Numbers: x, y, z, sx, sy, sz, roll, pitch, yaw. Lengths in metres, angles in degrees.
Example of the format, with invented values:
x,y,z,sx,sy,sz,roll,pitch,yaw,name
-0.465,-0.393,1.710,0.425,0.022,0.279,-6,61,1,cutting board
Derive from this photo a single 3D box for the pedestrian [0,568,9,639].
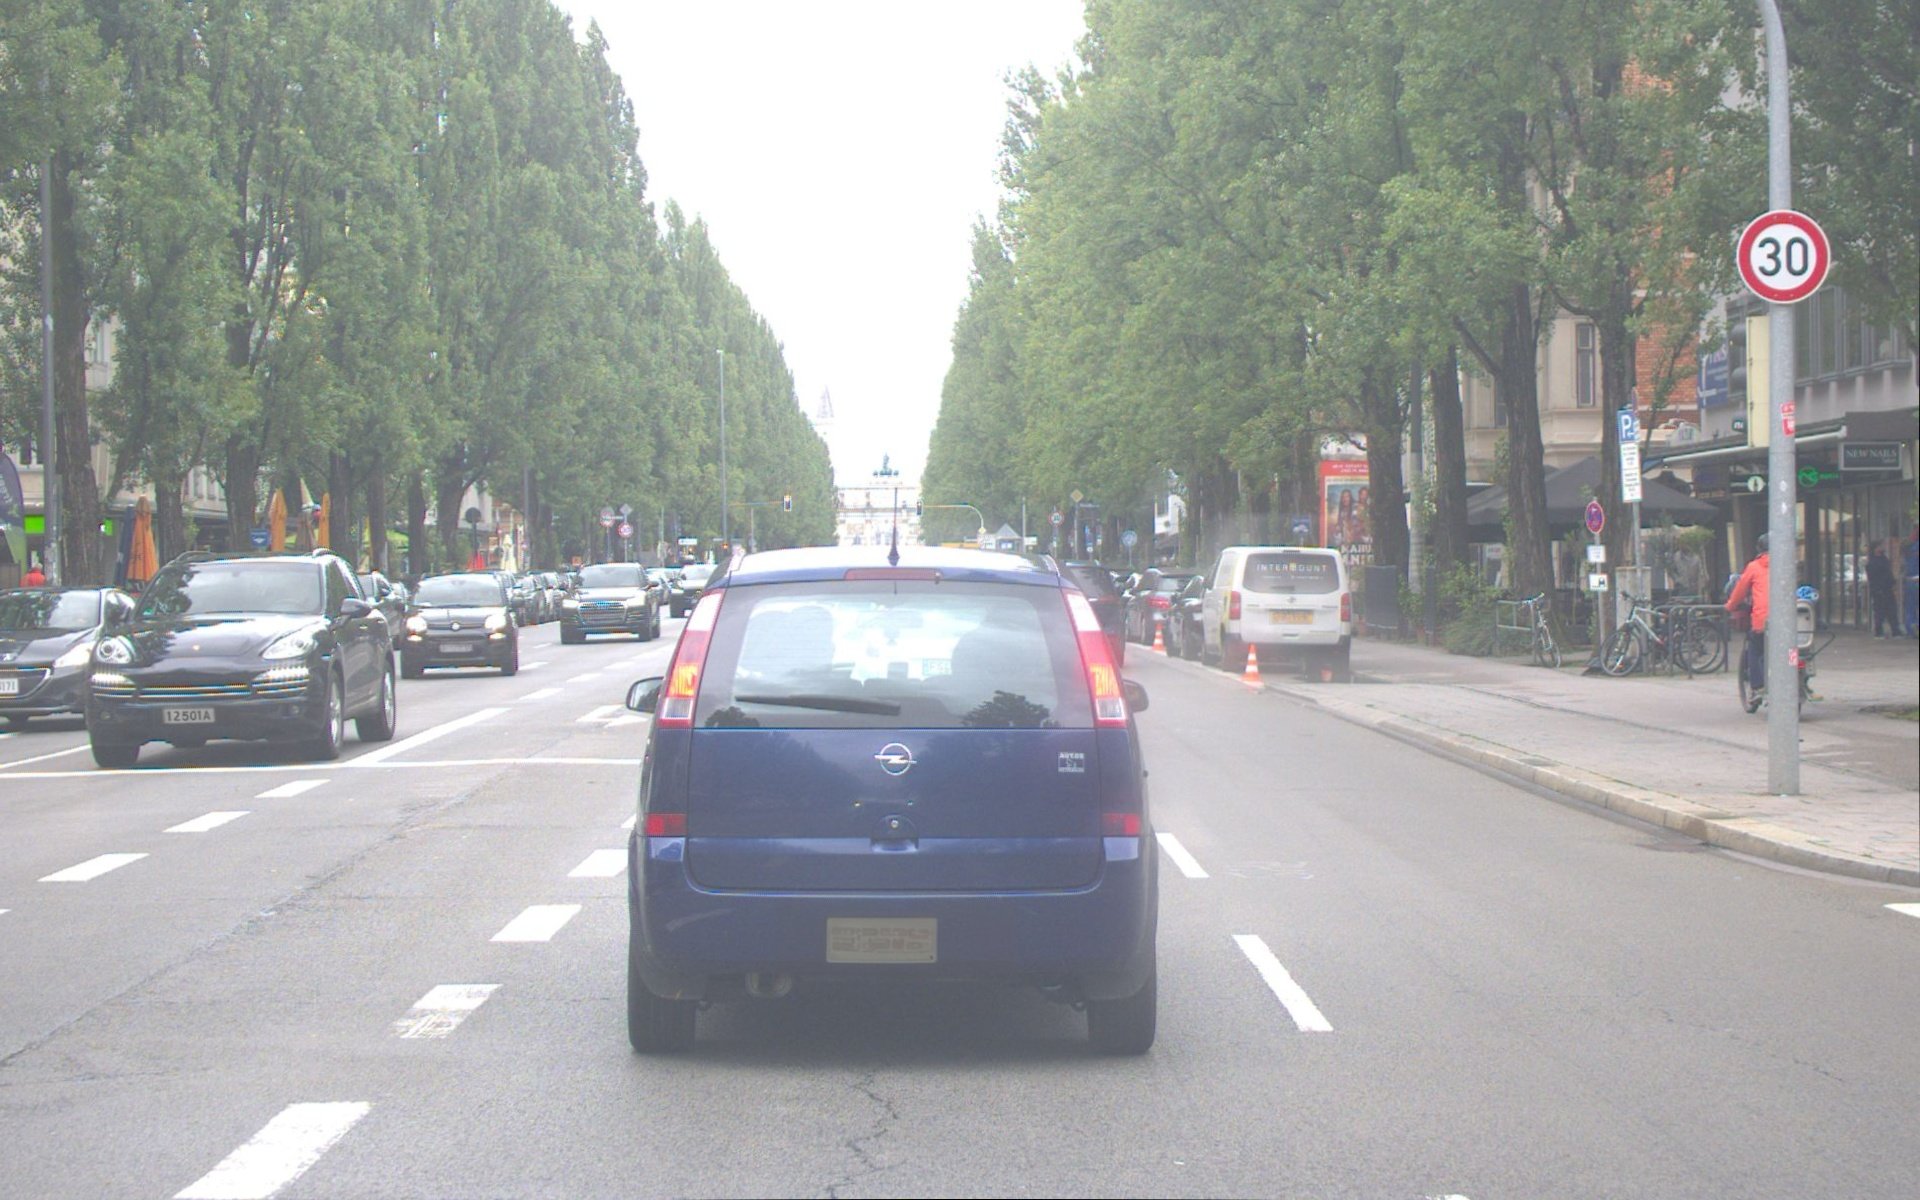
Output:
x,y,z,sx,sy,sz,roll,pitch,yaw,name
-21.045,0.071,74.309,0.768,1.532,0.805,0,1,-1,pedestrian

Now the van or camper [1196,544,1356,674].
x,y,z,sx,sy,sz,roll,pitch,yaw,name
4.769,0.108,52.457,1.868,1.876,4.903,0,1,-1,van or camper

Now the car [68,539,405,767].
x,y,z,sx,sy,sz,roll,pitch,yaw,name
-5.906,0.381,28.576,1.884,1.740,4.439,0,1,0,car

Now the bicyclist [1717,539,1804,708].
x,y,z,sx,sy,sz,roll,pitch,yaw,name
7.619,0.220,32.740,0.621,1.583,0.753,-1,0,-2,bicyclist

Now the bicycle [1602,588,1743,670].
x,y,z,sx,sy,sz,roll,pitch,yaw,name
9.295,0.375,44.858,1.757,1.040,0.484,0,1,-12,bicycle

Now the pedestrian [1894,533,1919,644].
x,y,z,sx,sy,sz,roll,pitch,yaw,name
15.901,-0.197,56.604,0.871,1.822,0.834,0,1,27,pedestrian

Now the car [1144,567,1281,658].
x,y,z,sx,sy,sz,roll,pitch,yaw,name
4.215,0.182,58.005,1.719,1.437,4.354,2,1,-3,car

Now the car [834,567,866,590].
x,y,z,sx,sy,sz,roll,pitch,yaw,name
-6.781,-1.330,211.618,1.961,1.395,3.779,-1,1,-2,car

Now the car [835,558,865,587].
x,y,z,sx,sy,sz,roll,pitch,yaw,name
-6.912,-1.730,216.389,1.835,1.755,3.779,-1,1,-2,car

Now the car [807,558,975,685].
x,y,z,sx,sy,sz,roll,pitch,yaw,name
-0.899,0.233,43.264,1.993,1.492,4.000,-1,1,-2,car

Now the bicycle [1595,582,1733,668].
x,y,z,sx,sy,sz,roll,pitch,yaw,name
9.327,0.326,45.548,1.737,1.107,0.448,0,1,-11,bicycle

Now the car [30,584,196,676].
x,y,z,sx,sy,sz,roll,pitch,yaw,name
-12.691,0.422,51.727,1.878,1.293,4.095,0,1,-6,car

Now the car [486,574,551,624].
x,y,z,sx,sy,sz,roll,pitch,yaw,name
-12.998,-0.050,101.263,1.631,1.423,2.984,-1,1,-2,car

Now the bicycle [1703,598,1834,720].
x,y,z,sx,sy,sz,roll,pitch,yaw,name
7.632,0.537,32.536,0.626,1.083,2.264,-1,1,-2,bicycle

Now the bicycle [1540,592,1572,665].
x,y,z,sx,sy,sz,roll,pitch,yaw,name
8.720,0.405,50.326,0.364,1.034,1.730,0,1,7,bicycle

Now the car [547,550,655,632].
x,y,z,sx,sy,sz,roll,pitch,yaw,name
-7.605,-0.212,73.141,1.913,1.675,4.586,0,1,-1,car

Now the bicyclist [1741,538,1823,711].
x,y,z,sx,sy,sz,roll,pitch,yaw,name
7.646,0.223,31.986,0.621,1.583,0.481,-1,0,-2,bicyclist

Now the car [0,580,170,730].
x,y,z,sx,sy,sz,roll,pitch,yaw,name
-9.467,0.539,35.818,1.641,1.434,3.997,-2,1,-2,car

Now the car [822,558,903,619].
x,y,z,sx,sy,sz,roll,pitch,yaw,name
-2.481,-0.317,86.826,1.993,1.492,4.000,0,1,-2,car

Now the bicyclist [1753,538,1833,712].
x,y,z,sx,sy,sz,roll,pitch,yaw,name
7.656,0.225,31.601,0.621,1.583,0.391,-1,0,-2,bicyclist

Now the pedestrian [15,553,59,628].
x,y,z,sx,sy,sz,roll,pitch,yaw,name
-20.546,-0.215,76.522,0.734,1.667,0.952,0,1,-1,pedestrian

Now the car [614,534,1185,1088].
x,y,z,sx,sy,sz,roll,pitch,yaw,name
-0.251,0.602,12.200,1.681,1.635,4.000,0,1,-2,car

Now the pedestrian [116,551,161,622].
x,y,z,sx,sy,sz,roll,pitch,yaw,name
-20.247,-0.334,84.750,0.851,1.738,1.148,0,1,-1,pedestrian

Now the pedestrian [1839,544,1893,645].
x,y,z,sx,sy,sz,roll,pitch,yaw,name
15.095,-0.097,57.306,0.670,1.603,0.771,-4,2,6,pedestrian

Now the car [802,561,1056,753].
x,y,z,sx,sy,sz,roll,pitch,yaw,name
-0.316,0.425,29.178,1.993,1.492,4.000,-1,1,-2,car

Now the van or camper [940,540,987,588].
x,y,z,sx,sy,sz,roll,pitch,yaw,name
0.177,-1.994,188.813,2.476,2.572,5.844,-1,1,-1,van or camper

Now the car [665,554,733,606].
x,y,z,sx,sy,sz,roll,pitch,yaw,name
-8.277,-0.659,109.285,1.935,1.618,4.337,0,1,-1,car

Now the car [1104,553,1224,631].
x,y,z,sx,sy,sz,roll,pitch,yaw,name
4.038,-0.176,68.723,1.816,1.501,4.233,-1,1,-4,car

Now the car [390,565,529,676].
x,y,z,sx,sy,sz,roll,pitch,yaw,name
-7.198,0.269,49.701,1.561,1.491,3.695,-2,1,-2,car

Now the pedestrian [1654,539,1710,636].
x,y,z,sx,sy,sz,roll,pitch,yaw,name
13.931,-0.247,66.383,0.826,1.834,1.099,0,1,-1,pedestrian

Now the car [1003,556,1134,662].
x,y,z,sx,sy,sz,roll,pitch,yaw,name
1.655,0.112,53.478,1.706,1.568,4.001,0,1,-3,car
